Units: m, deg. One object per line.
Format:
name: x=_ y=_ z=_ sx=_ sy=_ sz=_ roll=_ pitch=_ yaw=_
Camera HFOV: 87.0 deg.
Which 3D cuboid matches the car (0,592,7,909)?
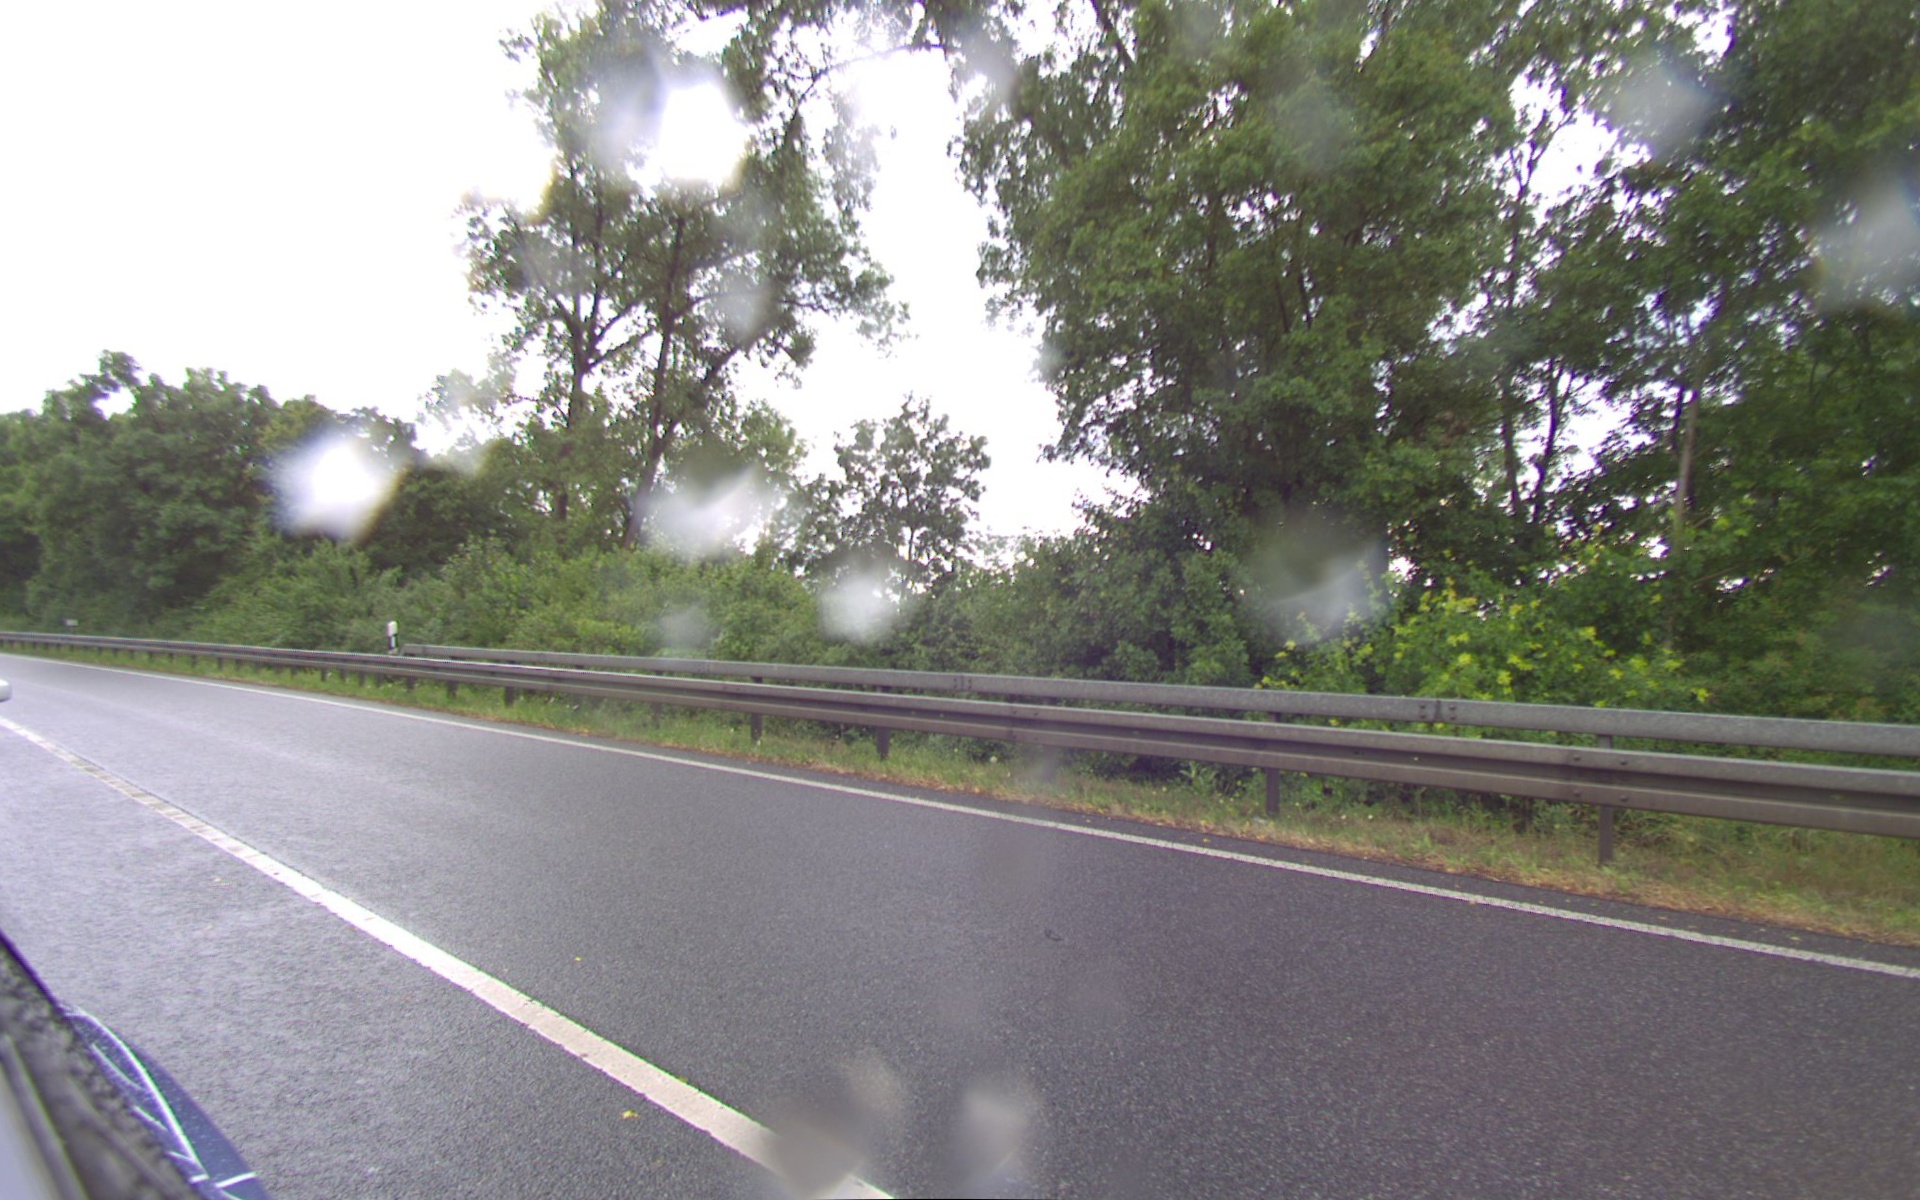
car: x=-6.567 y=0.731 z=5.498 sx=4.062 sy=1.491 sz=1.678 roll=-1 pitch=-1 yaw=42
